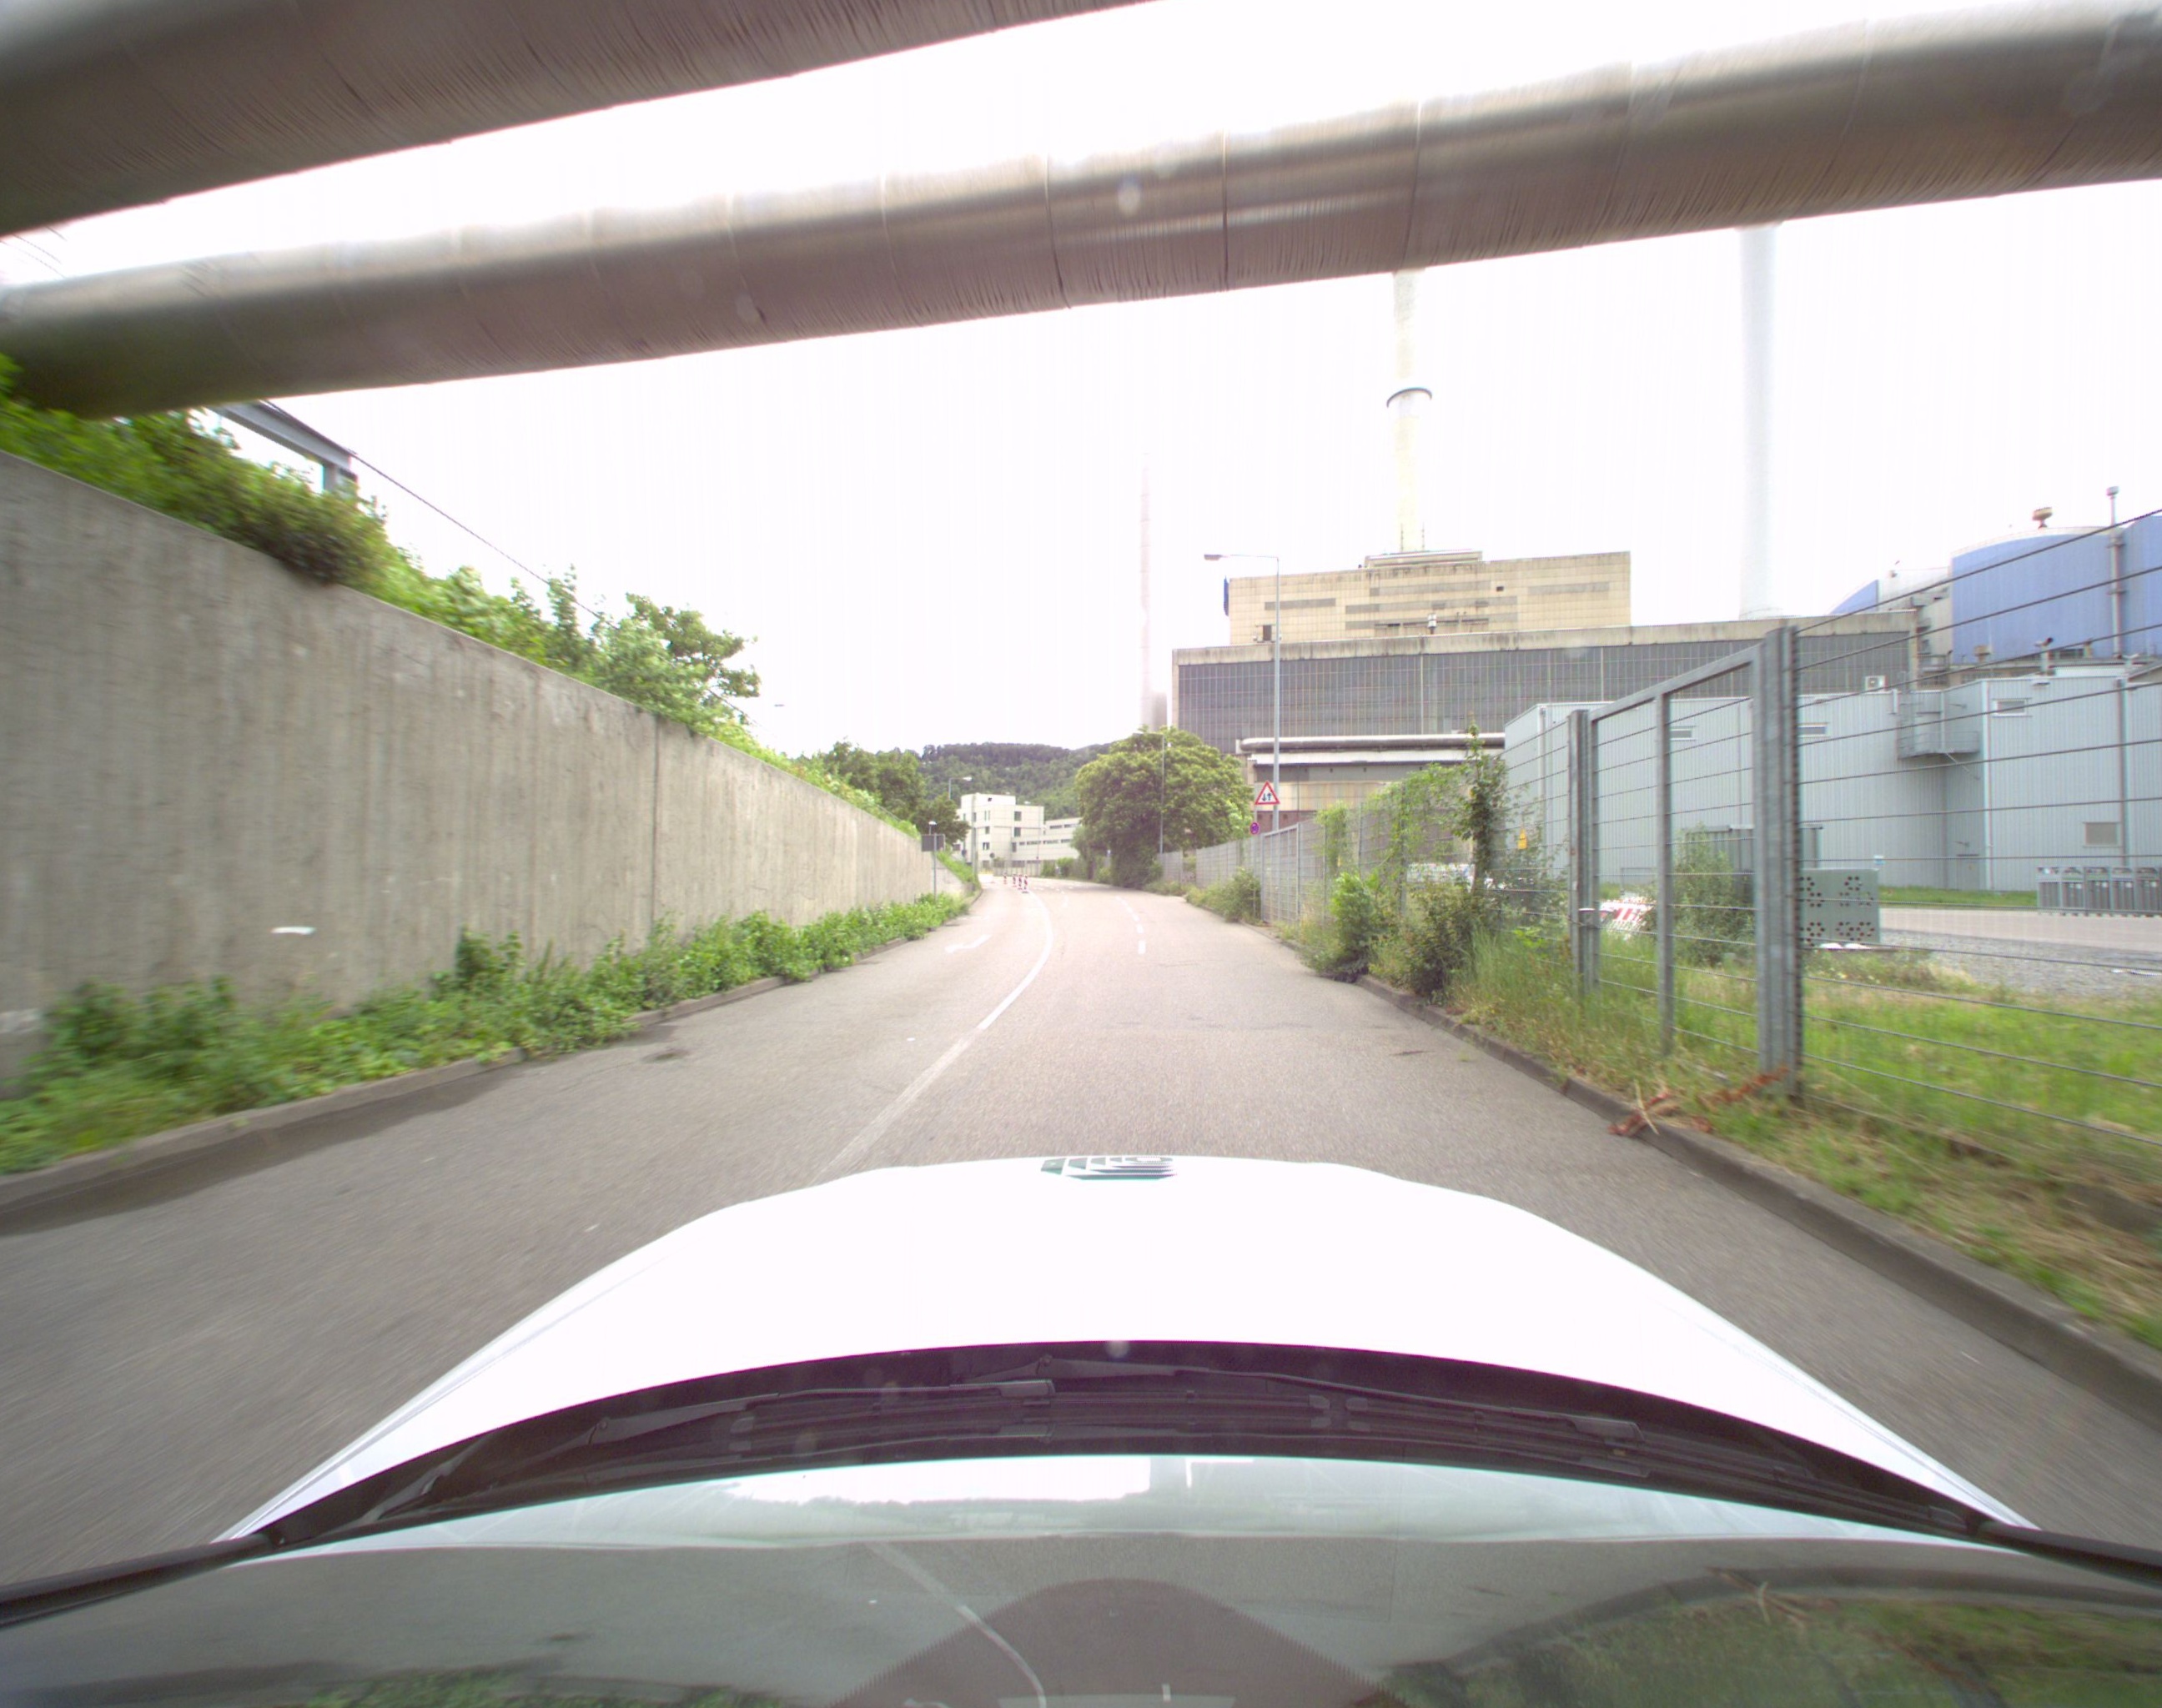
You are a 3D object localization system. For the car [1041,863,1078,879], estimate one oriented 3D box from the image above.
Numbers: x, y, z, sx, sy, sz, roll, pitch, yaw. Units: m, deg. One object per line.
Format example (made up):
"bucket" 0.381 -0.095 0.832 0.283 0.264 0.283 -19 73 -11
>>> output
"car" -3.512 2.733 130.967 6.091 2.263 2.012 1 -2 39

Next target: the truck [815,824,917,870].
"truck" -18.390 -0.498 69.731 7.888 3.539 3.023 2 -4 -30

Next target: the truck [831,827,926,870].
"truck" -18.510 -0.403 74.596 7.894 3.539 3.020 2 -4 -33

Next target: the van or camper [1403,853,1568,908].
"van or camper" 34.877 2.327 70.643 11.796 4.532 5.471 1 -3 -7
